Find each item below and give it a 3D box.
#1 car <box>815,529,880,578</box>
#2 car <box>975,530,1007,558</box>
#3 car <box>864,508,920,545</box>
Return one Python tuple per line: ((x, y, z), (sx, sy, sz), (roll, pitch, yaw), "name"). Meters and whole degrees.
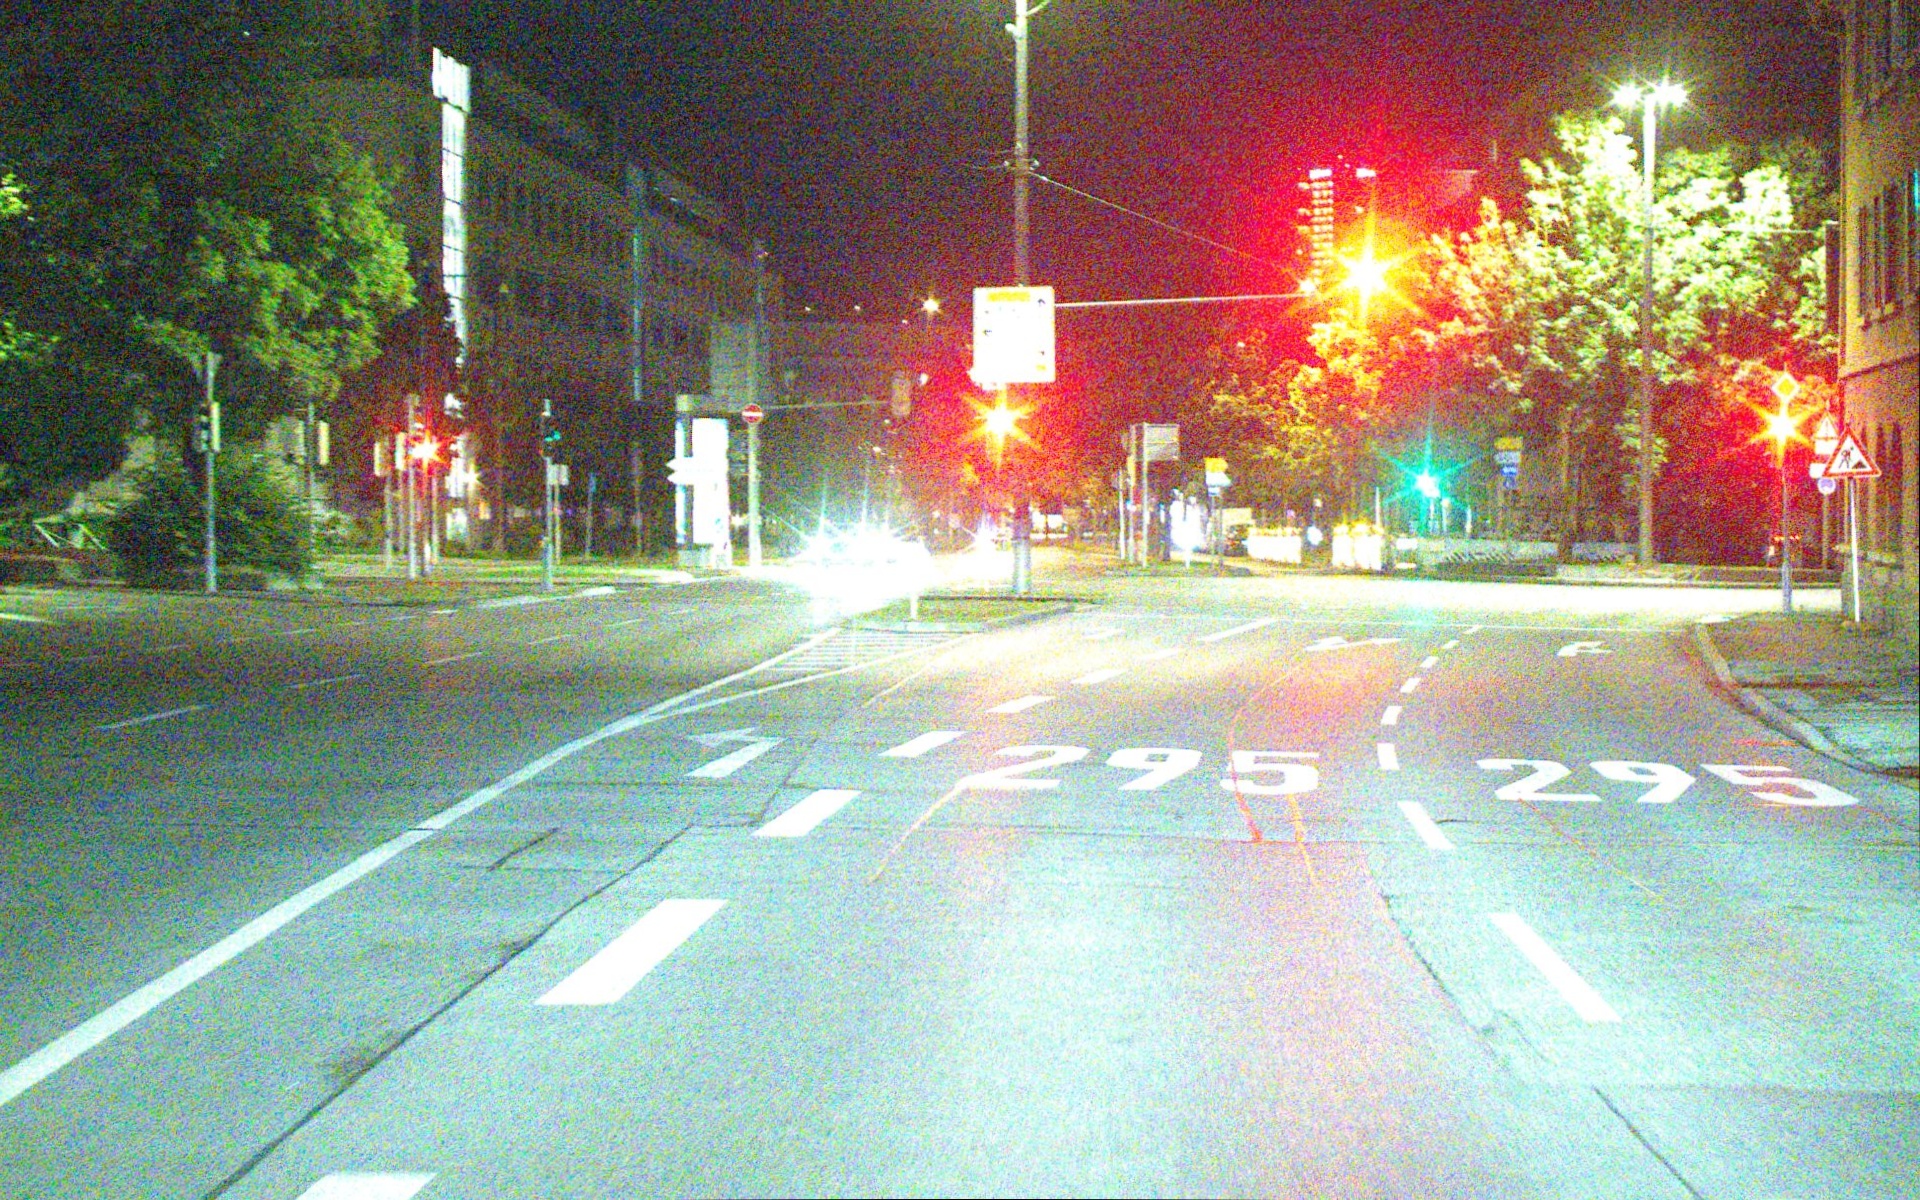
((-3.557, -1.484, 109.208), (1.616, 1.509, 4.000), (1, 1, 4), "car")
((1.930, -3.432, 211.618), (1.758, 1.722, 3.547), (1, 1, 4), "car")
((-2.470, -2.694, 126.223), (1.758, 1.317, 3.547), (1, 1, 4), "car")
